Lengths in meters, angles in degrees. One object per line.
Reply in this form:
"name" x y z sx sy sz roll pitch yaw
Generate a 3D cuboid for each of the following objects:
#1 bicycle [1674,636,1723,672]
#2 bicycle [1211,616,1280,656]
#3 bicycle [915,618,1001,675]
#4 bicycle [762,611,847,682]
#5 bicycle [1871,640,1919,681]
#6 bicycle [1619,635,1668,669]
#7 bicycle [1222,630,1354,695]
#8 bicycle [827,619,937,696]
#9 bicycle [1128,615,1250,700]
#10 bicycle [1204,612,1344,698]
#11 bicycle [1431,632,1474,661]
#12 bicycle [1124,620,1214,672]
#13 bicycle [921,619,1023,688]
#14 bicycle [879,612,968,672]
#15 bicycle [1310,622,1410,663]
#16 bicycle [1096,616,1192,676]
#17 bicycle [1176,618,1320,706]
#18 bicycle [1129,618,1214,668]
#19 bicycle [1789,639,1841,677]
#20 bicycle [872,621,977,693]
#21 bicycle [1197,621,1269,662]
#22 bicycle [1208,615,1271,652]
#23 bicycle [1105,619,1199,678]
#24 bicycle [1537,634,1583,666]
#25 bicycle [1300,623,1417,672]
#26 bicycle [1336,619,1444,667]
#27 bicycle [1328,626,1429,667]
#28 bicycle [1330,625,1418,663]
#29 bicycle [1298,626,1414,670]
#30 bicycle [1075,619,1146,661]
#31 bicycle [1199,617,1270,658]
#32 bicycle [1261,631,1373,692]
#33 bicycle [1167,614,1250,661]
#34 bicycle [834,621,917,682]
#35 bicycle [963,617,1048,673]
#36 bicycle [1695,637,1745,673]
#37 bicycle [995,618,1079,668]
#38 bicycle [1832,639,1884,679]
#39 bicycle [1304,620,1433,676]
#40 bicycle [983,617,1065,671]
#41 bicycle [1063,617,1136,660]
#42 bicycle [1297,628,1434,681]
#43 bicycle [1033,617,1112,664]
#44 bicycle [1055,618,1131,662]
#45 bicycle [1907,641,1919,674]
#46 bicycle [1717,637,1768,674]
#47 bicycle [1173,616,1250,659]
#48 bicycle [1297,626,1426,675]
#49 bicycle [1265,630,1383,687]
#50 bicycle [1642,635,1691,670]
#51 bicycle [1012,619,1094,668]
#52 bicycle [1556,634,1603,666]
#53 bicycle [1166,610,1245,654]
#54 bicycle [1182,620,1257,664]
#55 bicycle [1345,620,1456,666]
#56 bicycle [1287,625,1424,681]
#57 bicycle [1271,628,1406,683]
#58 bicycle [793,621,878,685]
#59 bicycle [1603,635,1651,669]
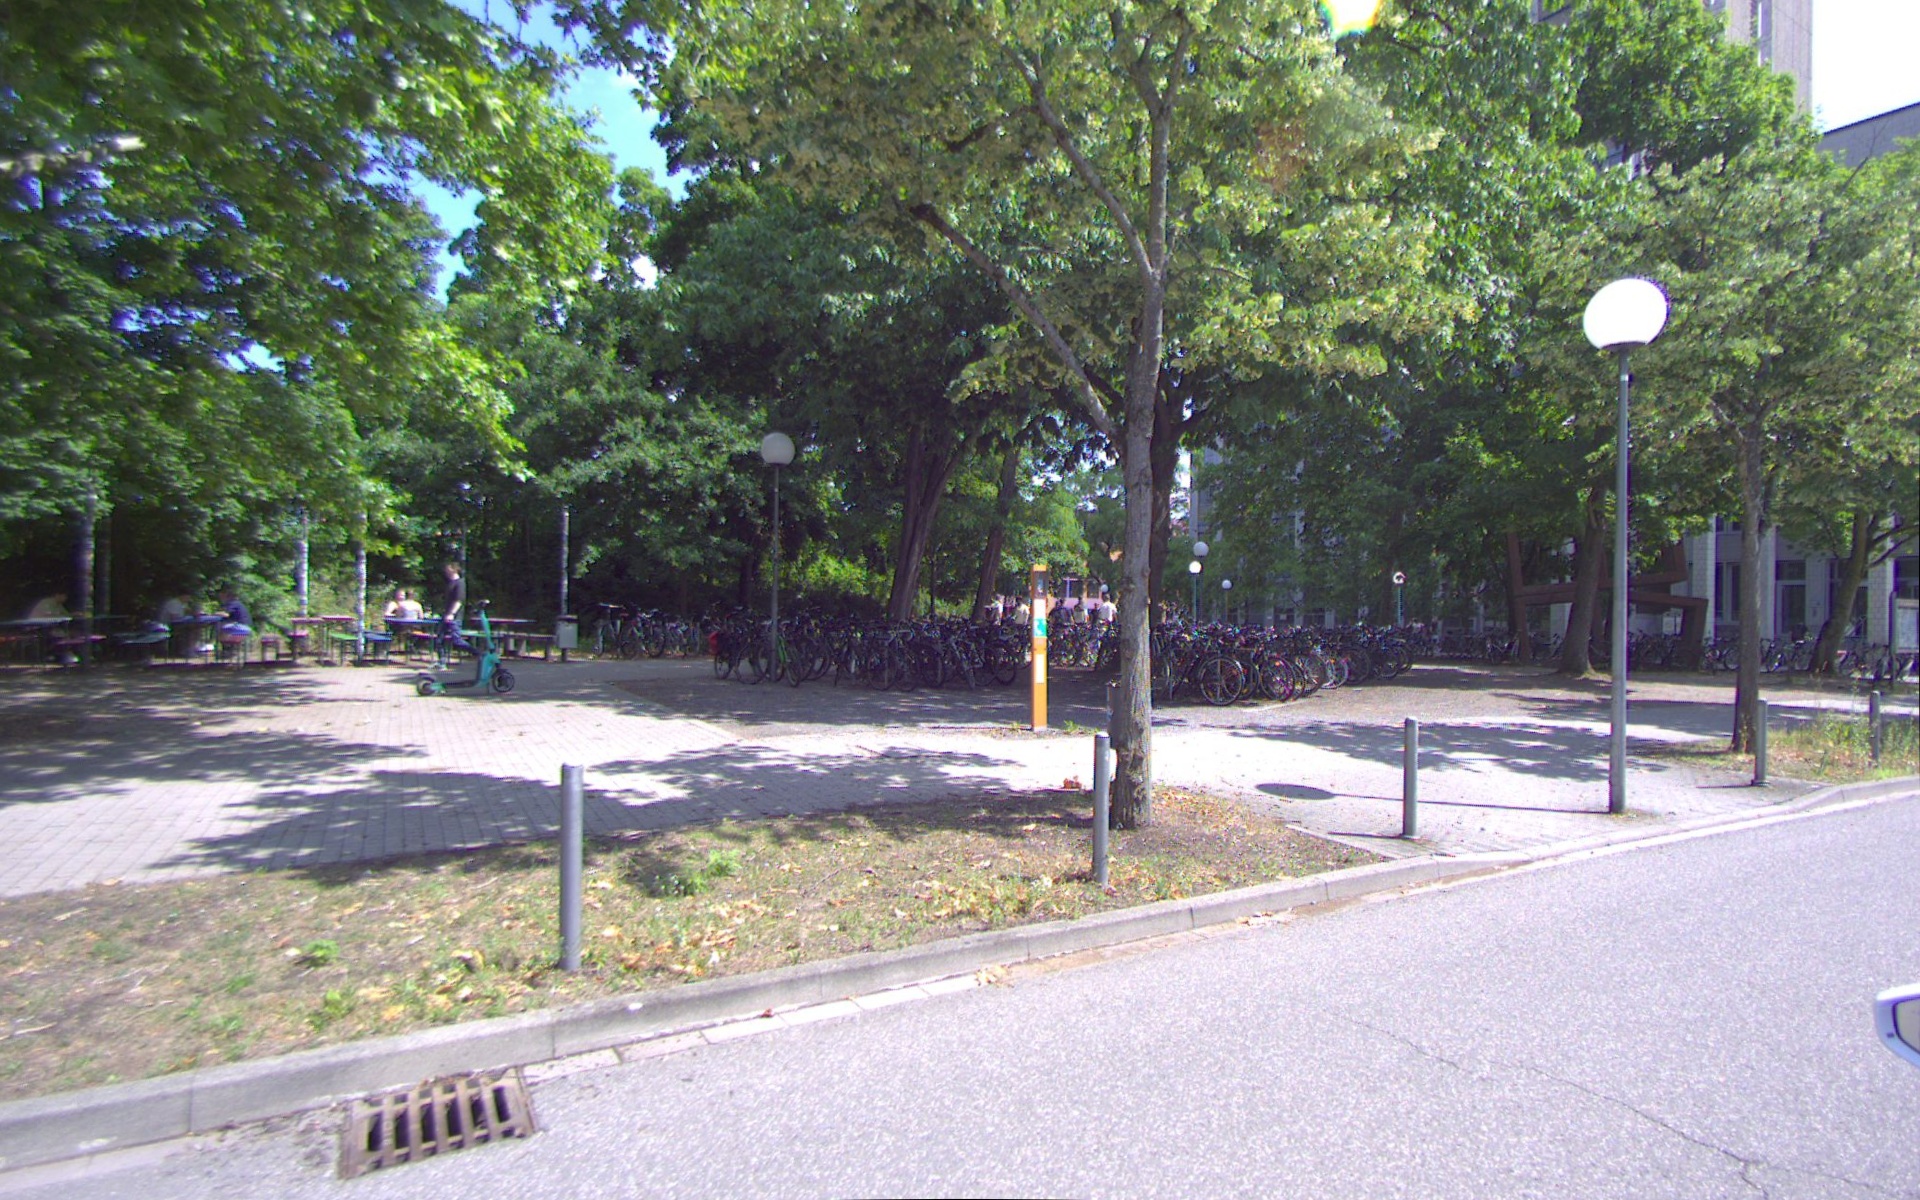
"bicycle" 23.973 1.749 32.598 1.950 1.101 0.549 2 1 -31
"bicycle" 9.310 1.162 32.784 2.021 1.147 0.639 4 1 25
"bicycle" -0.062 0.951 21.056 1.940 1.104 0.544 1 0 44
"bicycle" -2.763 0.796 17.733 0.533 1.141 1.944 1 0 -40
"bicycle" 26.292 1.681 28.140 1.950 1.101 0.549 2 1 -31
"bicycle" 23.014 1.753 33.816 1.950 1.101 0.549 2 1 -31
"bicycle" 5.782 1.082 17.773 2.116 1.022 0.676 1 0 30
"bicycle" -1.251 0.882 15.844 1.832 1.104 0.545 1 0 39
"bicycle" 3.379 0.827 14.933 1.753 1.147 0.456 1 0 43
"bicycle" 5.181 0.873 16.670 2.031 1.251 0.804 3 1 43
"bicycle" 19.487 1.822 39.736 1.950 1.101 0.549 2 1 -31
"bicycle" 5.023 1.092 24.205 2.021 1.147 0.639 1 1 25
"bicycle" 0.192 0.917 17.651 1.832 1.104 0.545 1 0 39
"bicycle" -0.753 0.817 20.077 1.939 1.104 0.534 1 0 43
"bicycle" 13.032 1.374 32.827 2.902 1.141 0.743 3 1 18
"bicycle" 4.143 1.028 22.685 2.021 1.251 0.639 1 1 25
"bicycle" 4.550 0.940 15.946 2.031 1.251 0.804 2 0 43
"bicycle" 5.377 1.072 25.552 2.021 1.173 0.639 1 1 25
"bicycle" 25.693 1.732 30.177 1.950 1.101 0.549 2 1 -31
"bicycle" -0.608 0.926 16.827 1.832 1.104 0.545 1 0 39
"bicycle" 8.284 1.254 30.540 2.021 1.147 0.639 1 1 25
"bicycle" 9.836 1.163 35.354 2.021 1.147 0.639 4 2 25
"bicycle" 4.460 1.108 23.323 2.021 1.251 0.639 2 1 25
"bicycle" 21.802 1.800 36.465 1.950 1.101 0.549 2 1 -31
"bicycle" 10.623 1.247 26.878 2.826 1.193 0.883 1 0 18
"bicycle" 12.842 1.274 30.104 2.875 1.304 0.883 1 0 18
"bicycle" 12.132 1.337 29.203 2.630 1.091 0.883 1 0 18
"bicycle" 14.193 1.492 34.512 2.708 1.083 0.743 3 1 18
"bicycle" 10.143 1.214 25.839 2.679 1.016 0.883 1 0 18
"bicycle" 4.314 1.135 28.906 1.933 1.104 0.546 1 0 31
"bicycle" 8.642 1.171 31.617 2.021 1.147 0.639 3 1 25
"bicycle" 6.678 1.135 18.814 1.858 1.022 0.676 1 0 30
"bicycle" 6.528 0.970 26.413 2.021 1.147 0.639 2 1 25
"bicycle" -1.629 0.958 19.093 0.533 1.041 1.944 1 0 -40
"bicycle" 0.959 0.950 21.626 1.940 1.104 0.544 1 0 44
"bicycle" 24.186 1.734 31.968 1.950 1.101 0.549 2 1 -31
"bicycle" 1.817 0.997 23.756 1.933 1.104 0.546 1 0 31
"bicycle" 25.989 1.703 29.062 1.950 1.101 0.549 2 1 -31
"bicycle" 9.967 1.156 24.633 2.850 1.237 0.883 1 0 18
"bicycle" 1.417 0.973 22.581 1.940 1.104 0.544 1 0 44
"bicycle" 3.855 1.047 27.844 1.933 1.104 0.546 1 0 31
"bicycle" 9.119 1.211 22.730 2.777 1.064 0.883 1 0 18
"bicycle" 2.860 1.010 25.644 1.933 1.104 0.546 1 0 31
"bicycle" 3.545 1.051 26.800 1.933 1.104 0.546 1 0 31
"bicycle" 32.701 1.922 33.907 1.840 1.028 0.463 -1 2 -27
"bicycle" 24.508 1.729 31.456 1.950 1.101 0.549 2 1 -31
"bicycle" 7.171 1.060 28.648 2.021 1.147 0.639 1 1 25
"bicycle" 9.381 1.172 23.605 2.728 1.028 0.883 1 0 18
"bicycle" 7.230 1.137 19.972 2.115 1.022 0.677 1 0 30
"bicycle" 23.369 1.745 33.215 1.950 1.101 0.549 2 1 -31
"bicycle" 2.278 1.042 24.663 1.933 1.104 0.546 1 0 31
"bicycle" 22.001 1.779 35.674 1.950 1.101 0.549 2 1 -31
"bicycle" 6.775 0.856 27.689 2.021 1.147 0.639 1 0 25
"bicycle" 7.691 1.231 29.780 2.021 1.147 0.639 4 2 25
"bicycle" 13.583 1.316 31.093 3.021 1.314 0.883 1 0 18
"bicycle" 8.573 1.134 21.915 2.696 1.101 0.883 1 0 18
"bicycle" 7.902 1.151 21.110 2.598 1.022 0.678 1 0 18
"bicycle" -2.278 0.925 18.145 0.533 1.041 1.944 1 0 -40
"bicycle" 22.862 1.768 34.396 1.950 1.101 0.549 2 1 -31
